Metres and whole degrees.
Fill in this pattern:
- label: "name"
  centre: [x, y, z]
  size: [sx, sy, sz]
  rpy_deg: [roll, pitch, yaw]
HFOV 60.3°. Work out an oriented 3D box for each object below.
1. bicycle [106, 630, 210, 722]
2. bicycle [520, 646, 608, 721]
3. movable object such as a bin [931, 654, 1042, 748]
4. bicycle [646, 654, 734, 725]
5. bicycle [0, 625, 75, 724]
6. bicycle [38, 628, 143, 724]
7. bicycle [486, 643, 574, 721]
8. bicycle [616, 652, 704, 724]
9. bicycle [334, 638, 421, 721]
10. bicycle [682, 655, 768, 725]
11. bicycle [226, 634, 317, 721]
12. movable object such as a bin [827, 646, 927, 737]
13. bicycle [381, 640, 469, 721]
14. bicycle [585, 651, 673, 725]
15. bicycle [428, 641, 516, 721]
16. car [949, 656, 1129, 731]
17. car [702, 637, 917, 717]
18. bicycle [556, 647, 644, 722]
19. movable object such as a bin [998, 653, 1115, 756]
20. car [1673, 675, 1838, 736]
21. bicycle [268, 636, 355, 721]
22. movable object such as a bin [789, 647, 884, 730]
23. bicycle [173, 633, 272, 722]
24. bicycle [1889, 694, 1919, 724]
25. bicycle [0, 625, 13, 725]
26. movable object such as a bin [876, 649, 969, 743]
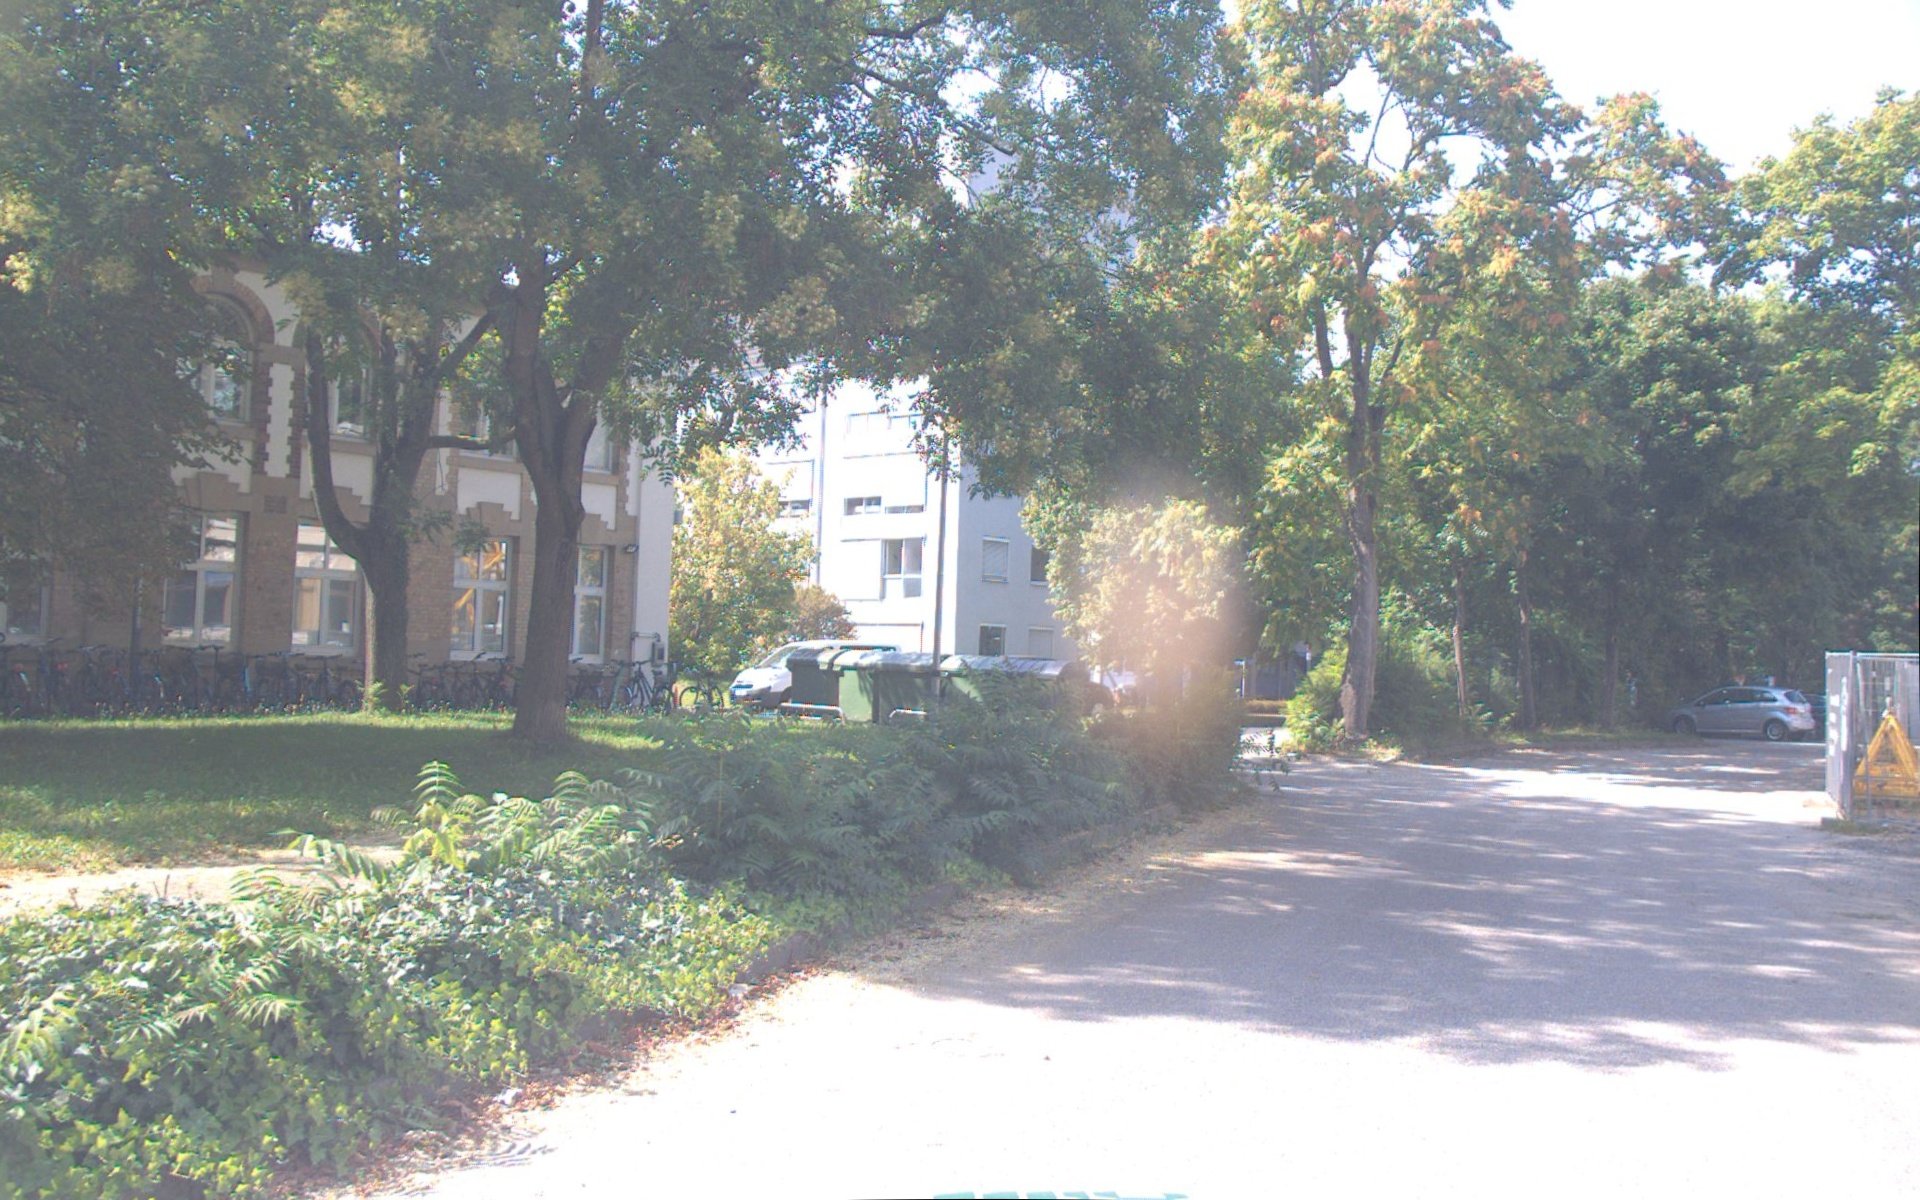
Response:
- label: "bicycle"
  centre: [-12.147, 1.144, 25.003]
  size: [0.765, 1.326, 2.488]
  rpy_deg: [4, -4, -40]
- label: "bicycle"
  centre: [-7.185, 1.498, 29.958]
  size: [0.603, 1.326, 2.141]
  rpy_deg: [4, -4, -40]
- label: "movable object such as a bin"
  centre: [0.436, 1.657, 27.342]
  size: [1.307, 1.457, 1.243]
  rpy_deg: [1, -3, 39]
- label: "bicycle"
  centre: [-5.210, 1.710, 31.818]
  size: [0.603, 1.326, 2.141]
  rpy_deg: [4, -4, -40]
- label: "bicycle"
  centre: [-13.261, 1.043, 23.386]
  size: [0.765, 1.326, 2.488]
  rpy_deg: [4, -4, -40]
- label: "bicycle"
  centre: [-12.686, 1.092, 24.087]
  size: [0.765, 1.326, 2.488]
  rpy_deg: [4, -4, -40]
- label: "bicycle"
  centre: [-7.639, 1.444, 29.334]
  size: [0.603, 1.326, 2.141]
  rpy_deg: [4, -4, -40]
- label: "bicycle"
  centre: [-5.705, 1.653, 31.357]
  size: [0.603, 1.326, 2.141]
  rpy_deg: [4, -4, -40]
- label: "bicycle"
  centre: [-9.740, 1.318, 27.604]
  size: [0.603, 1.326, 2.141]
  rpy_deg: [4, -4, -40]
- label: "bicycle"
  centre: [-4.631, 1.756, 32.514]
  size: [0.603, 1.326, 2.141]
  rpy_deg: [4, -4, -40]
- label: "bicycle"
  centre: [-10.949, 1.222, 26.255]
  size: [0.621, 1.326, 2.239]
  rpy_deg: [4, -4, -40]
- label: "movable object such as a bin"
  centre: [-1.461, 1.601, 29.124]
  size: [1.184, 1.522, 1.243]
  rpy_deg: [1, -3, 40]
- label: "bicycle"
  centre: [-9.065, 1.347, 27.993]
  size: [0.603, 1.326, 2.141]
  rpy_deg: [4, -4, -40]
- label: "bicycle"
  centre: [-6.195, 1.627, 30.880]
  size: [0.603, 1.326, 2.141]
  rpy_deg: [4, -4, -40]
- label: "bicycle"
  centre: [-8.464, 1.391, 28.612]
  size: [0.603, 1.326, 2.141]
  rpy_deg: [4, -4, -40]
- label: "car"
  centre: [1.797, 2.097, 36.911]
  size: [3.873, 1.555, 1.684]
  rpy_deg: [3, -3, -39]
- label: "car"
  centre: [-3.833, 1.991, 42.703]
  size: [5.041, 1.914, 2.464]
  rpy_deg: [4, -3, -42]
- label: "bicycle"
  centre: [-6.621, 1.543, 30.342]
  size: [0.603, 1.326, 2.141]
  rpy_deg: [4, -4, -40]
- label: "movable object such as a bin"
  centre: [1.538, 1.638, 26.226]
  size: [1.343, 1.519, 1.332]
  rpy_deg: [1, -2, 31]
- label: "car"
  centre: [24.172, 3.182, 50.358]
  size: [1.984, 1.641, 4.095]
  rpy_deg: [3, -2, -43]
- label: "bicycle"
  centre: [-10.494, 1.262, 26.728]
  size: [0.603, 1.326, 2.141]
  rpy_deg: [4, -4, -40]
- label: "movable object such as a bin"
  centre: [-2.292, 1.634, 30.692]
  size: [1.184, 1.470, 1.243]
  rpy_deg: [1, -3, 40]
- label: "bicycle"
  centre: [-11.464, 1.190, 25.673]
  size: [0.765, 1.326, 2.239]
  rpy_deg: [4, -4, -41]
- label: "bicycle"
  centre: [36.529, 4.213, 63.930]
  size: [1.783, 1.127, 0.493]
  rpy_deg: [3, -2, -40]
- label: "bicycle"
  centre: [-13.743, 1.013, 22.727]
  size: [0.765, 1.326, 2.488]
  rpy_deg: [4, -4, -40]
- label: "movable object such as a bin"
  centre: [-0.629, 1.613, 27.994]
  size: [1.081, 1.508, 1.095]
  rpy_deg: [1, -3, 40]
